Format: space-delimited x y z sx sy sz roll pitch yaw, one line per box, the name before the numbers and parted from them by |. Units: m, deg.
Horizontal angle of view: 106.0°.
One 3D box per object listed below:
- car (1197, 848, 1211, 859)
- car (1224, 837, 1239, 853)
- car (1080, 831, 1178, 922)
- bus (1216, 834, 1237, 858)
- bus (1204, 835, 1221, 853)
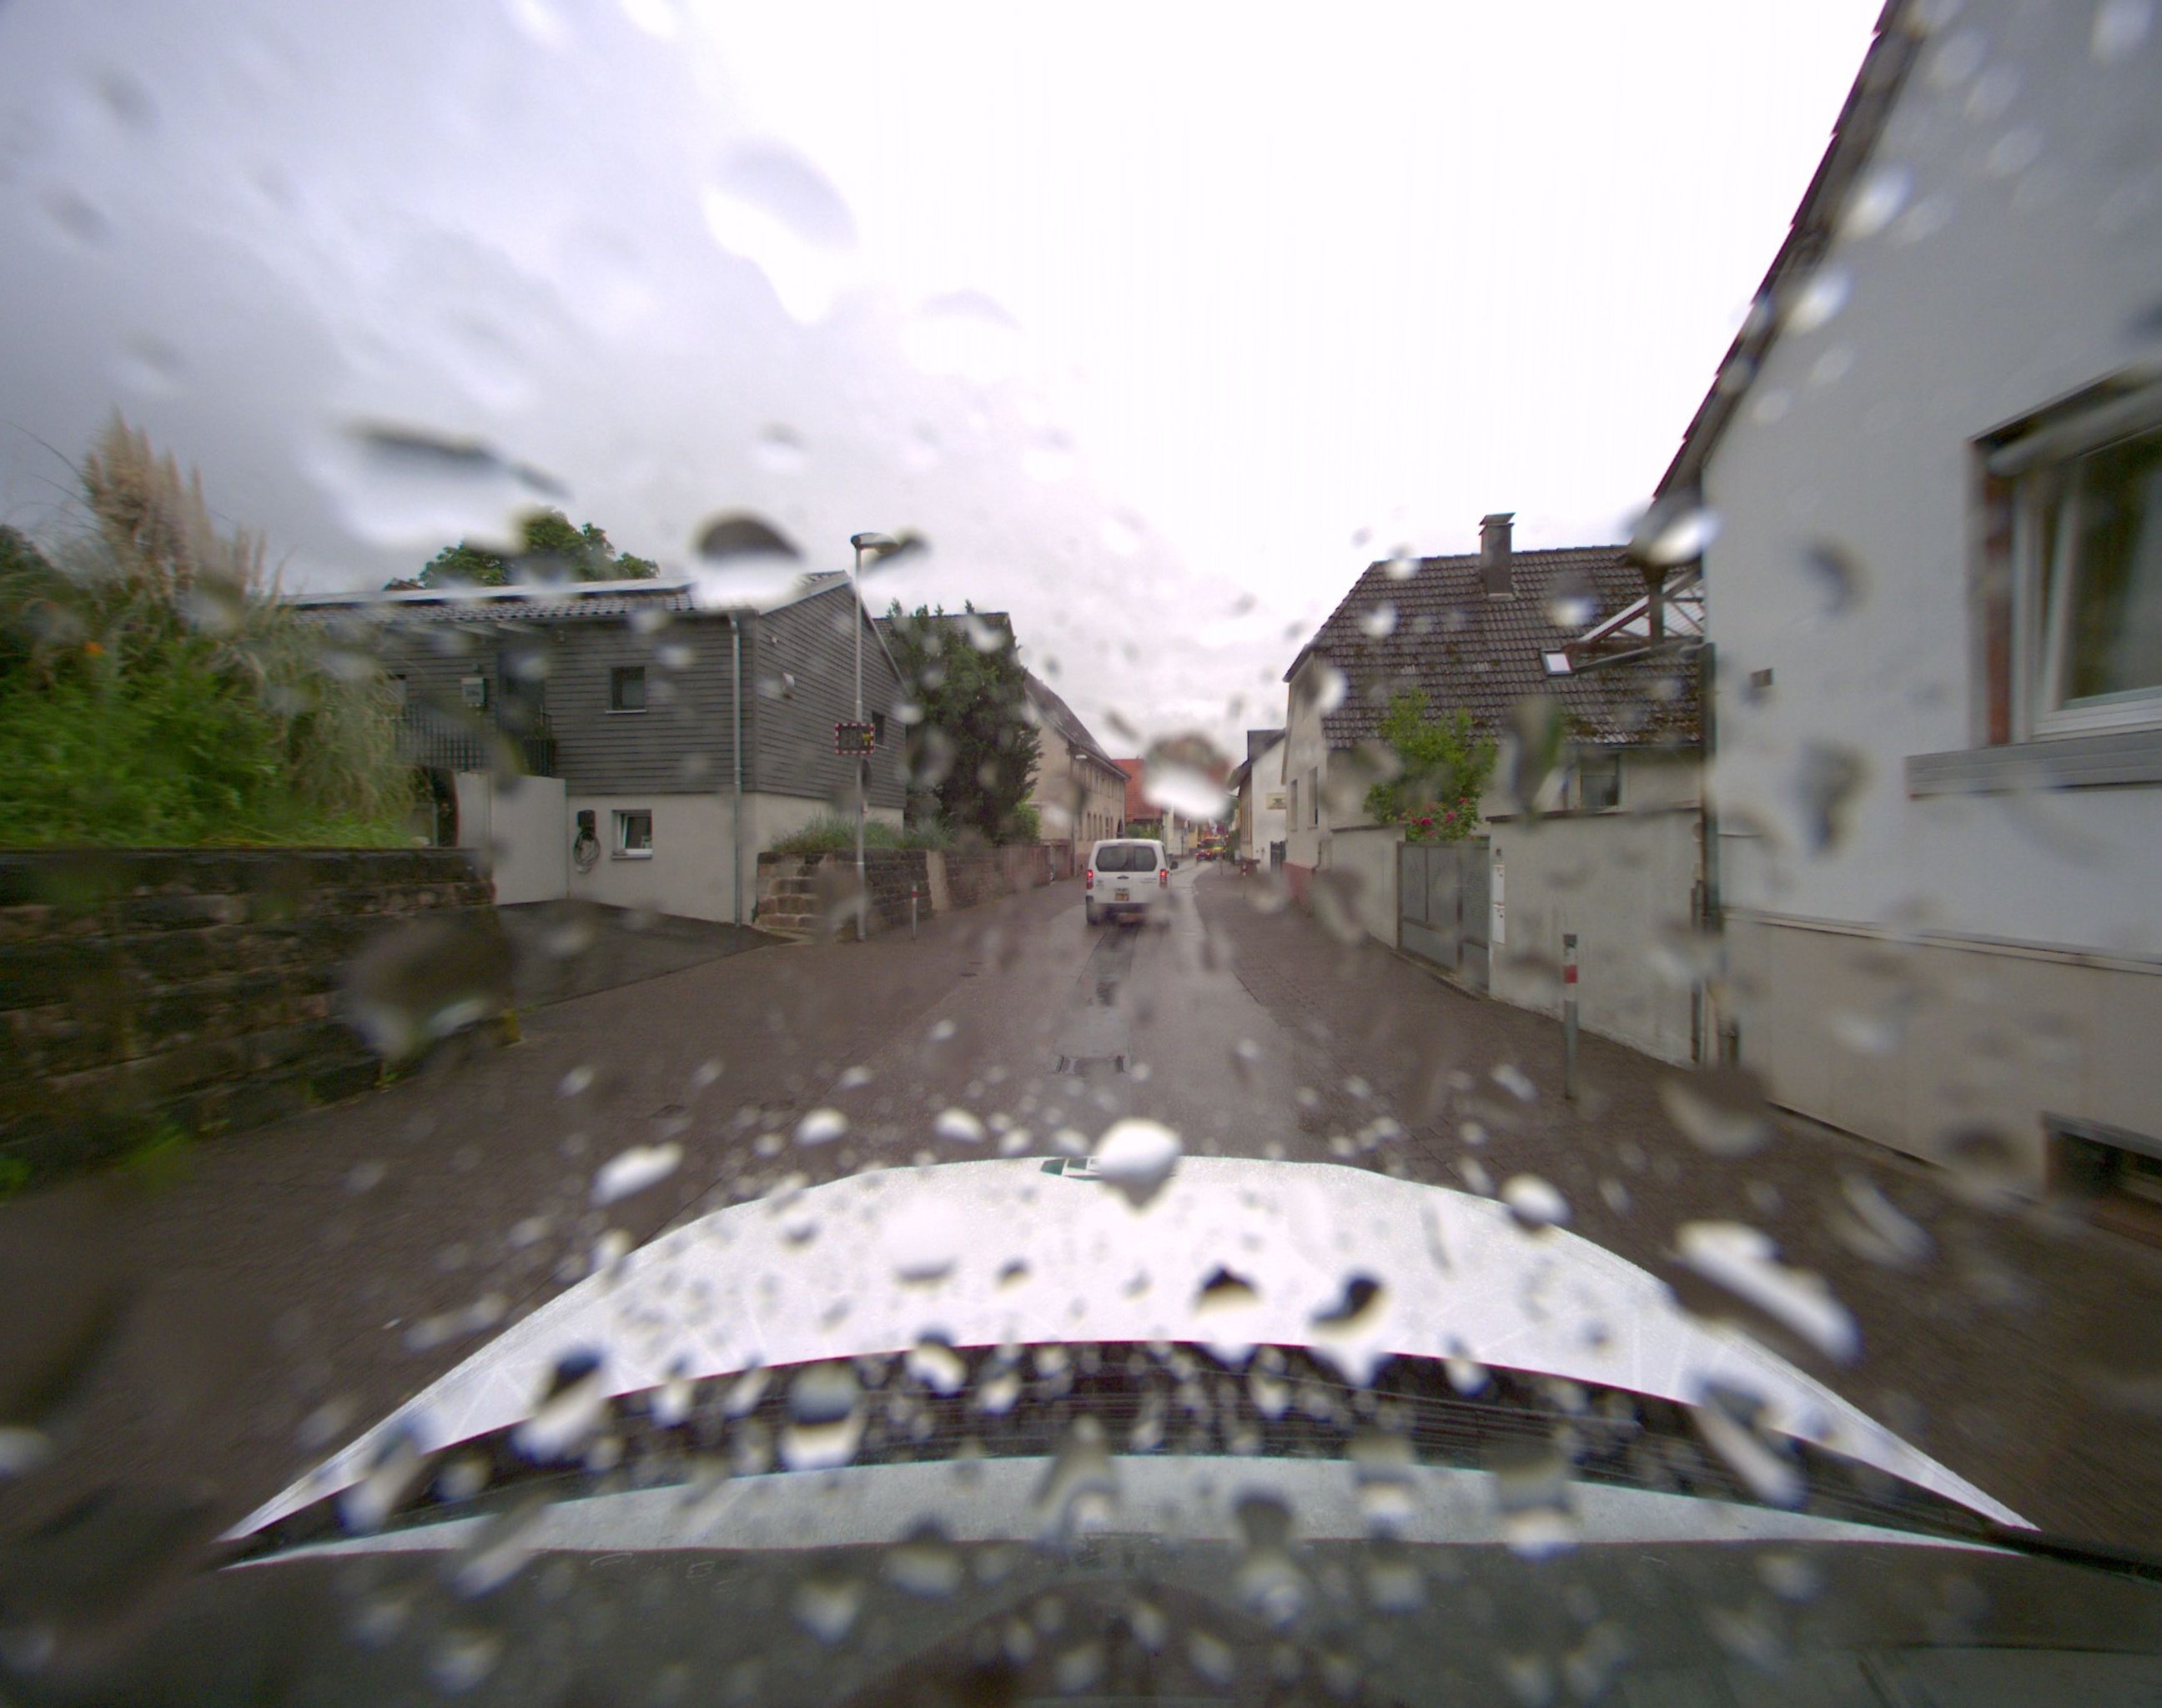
car | 15.446 -0.048 102.539 1.551 1.371 3.596 1 0 11
car | 20.002 -1.199 108.213 1.815 2.014 3.704 1 0 11
car | 1.216 0.486 18.727 1.784 1.819 4.112 -2 -1 9
bus | 20.496 -1.028 114.566 2.776 3.180 8.202 2 0 11
bus | 25.440 -1.862 157.202 2.776 3.329 8.202 2 0 11
